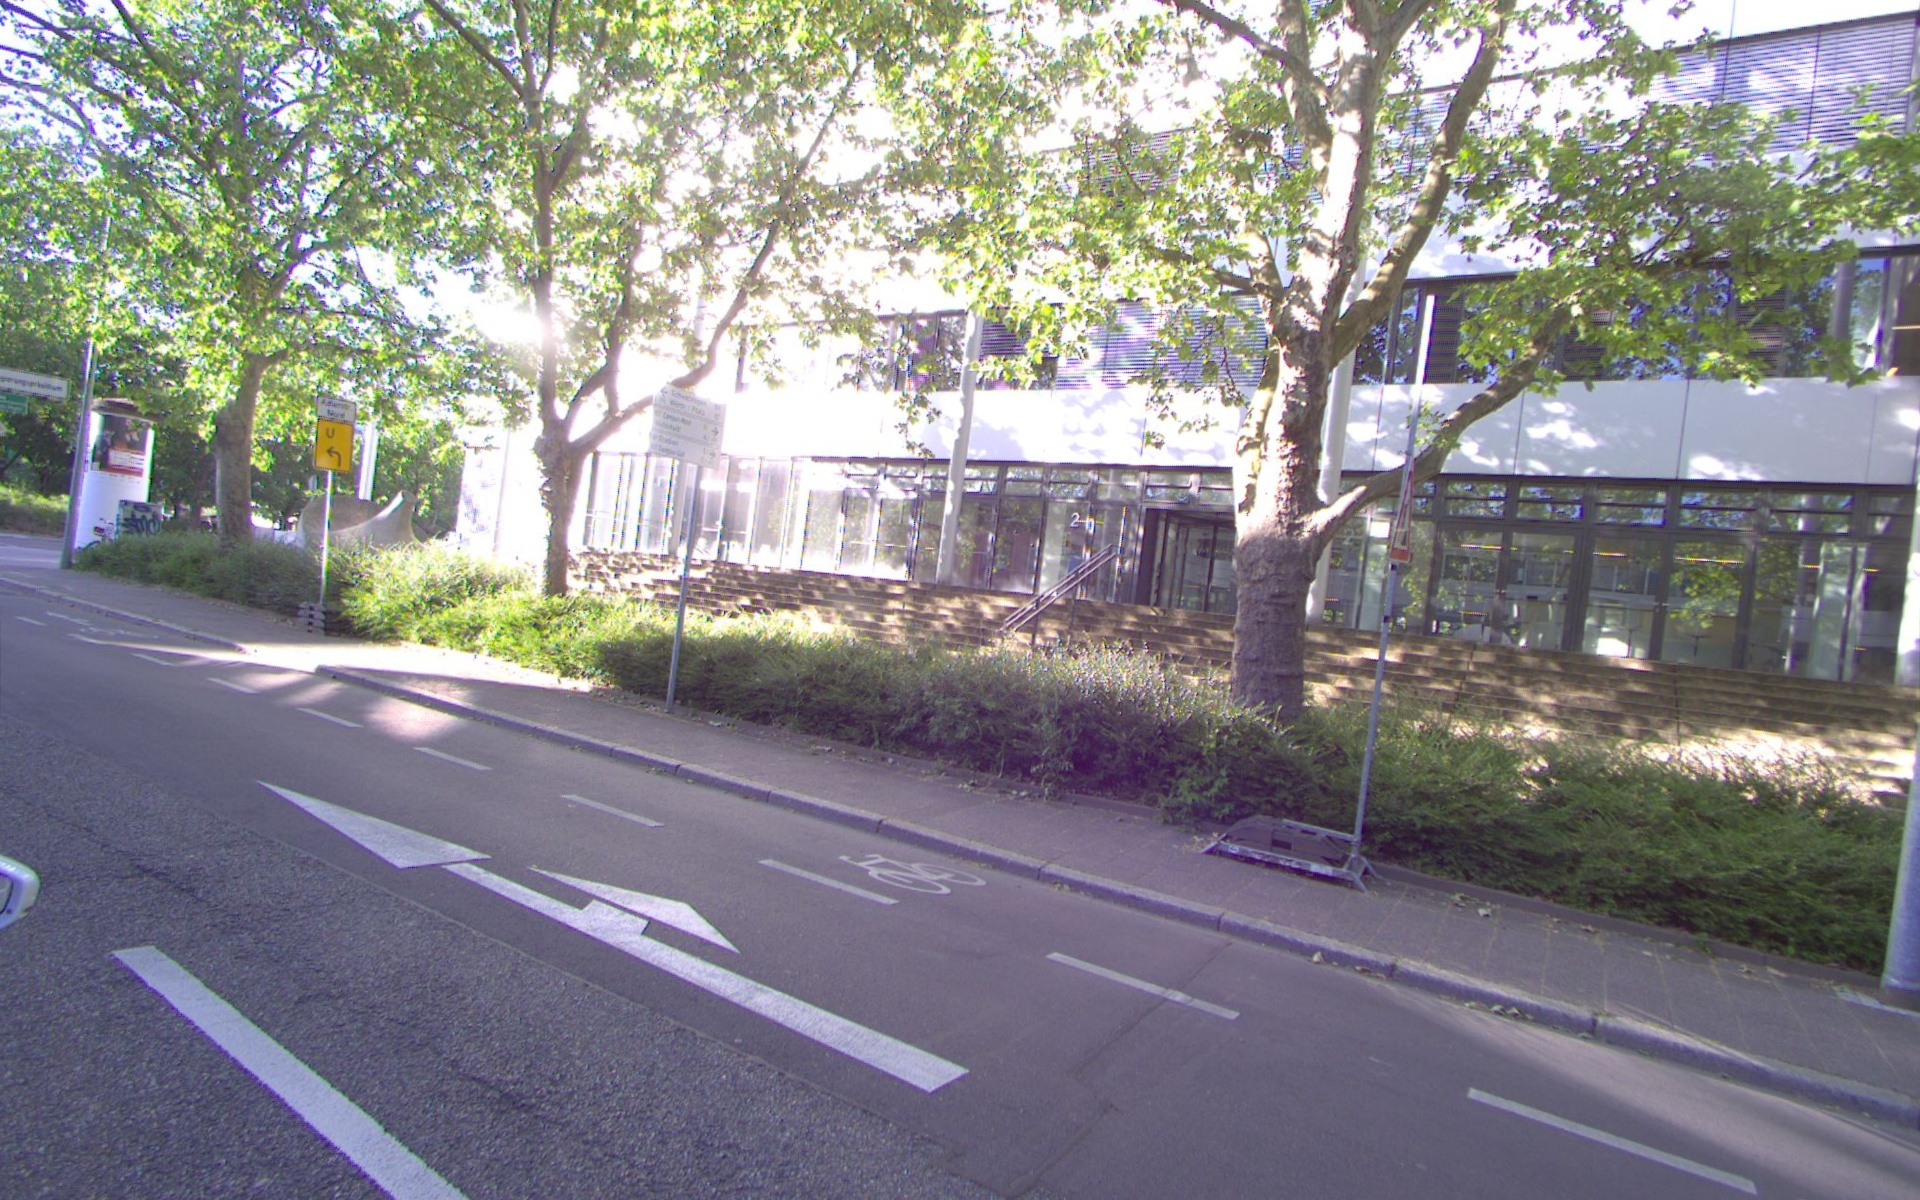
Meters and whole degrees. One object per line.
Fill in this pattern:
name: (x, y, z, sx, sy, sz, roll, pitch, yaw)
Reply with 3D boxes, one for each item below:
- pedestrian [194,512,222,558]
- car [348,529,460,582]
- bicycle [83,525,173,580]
pedestrian: (-31.315, -2.711, 41.884, 0.620, 1.805, 0.620, 7, 0, 34)
car: (-25.930, -2.059, 47.040, 1.969, 1.805, 3.998, 7, -1, 37)
bicycle: (-19.086, -1.087, 23.096, 0.529, 1.049, 1.418, 7, -1, 28)
